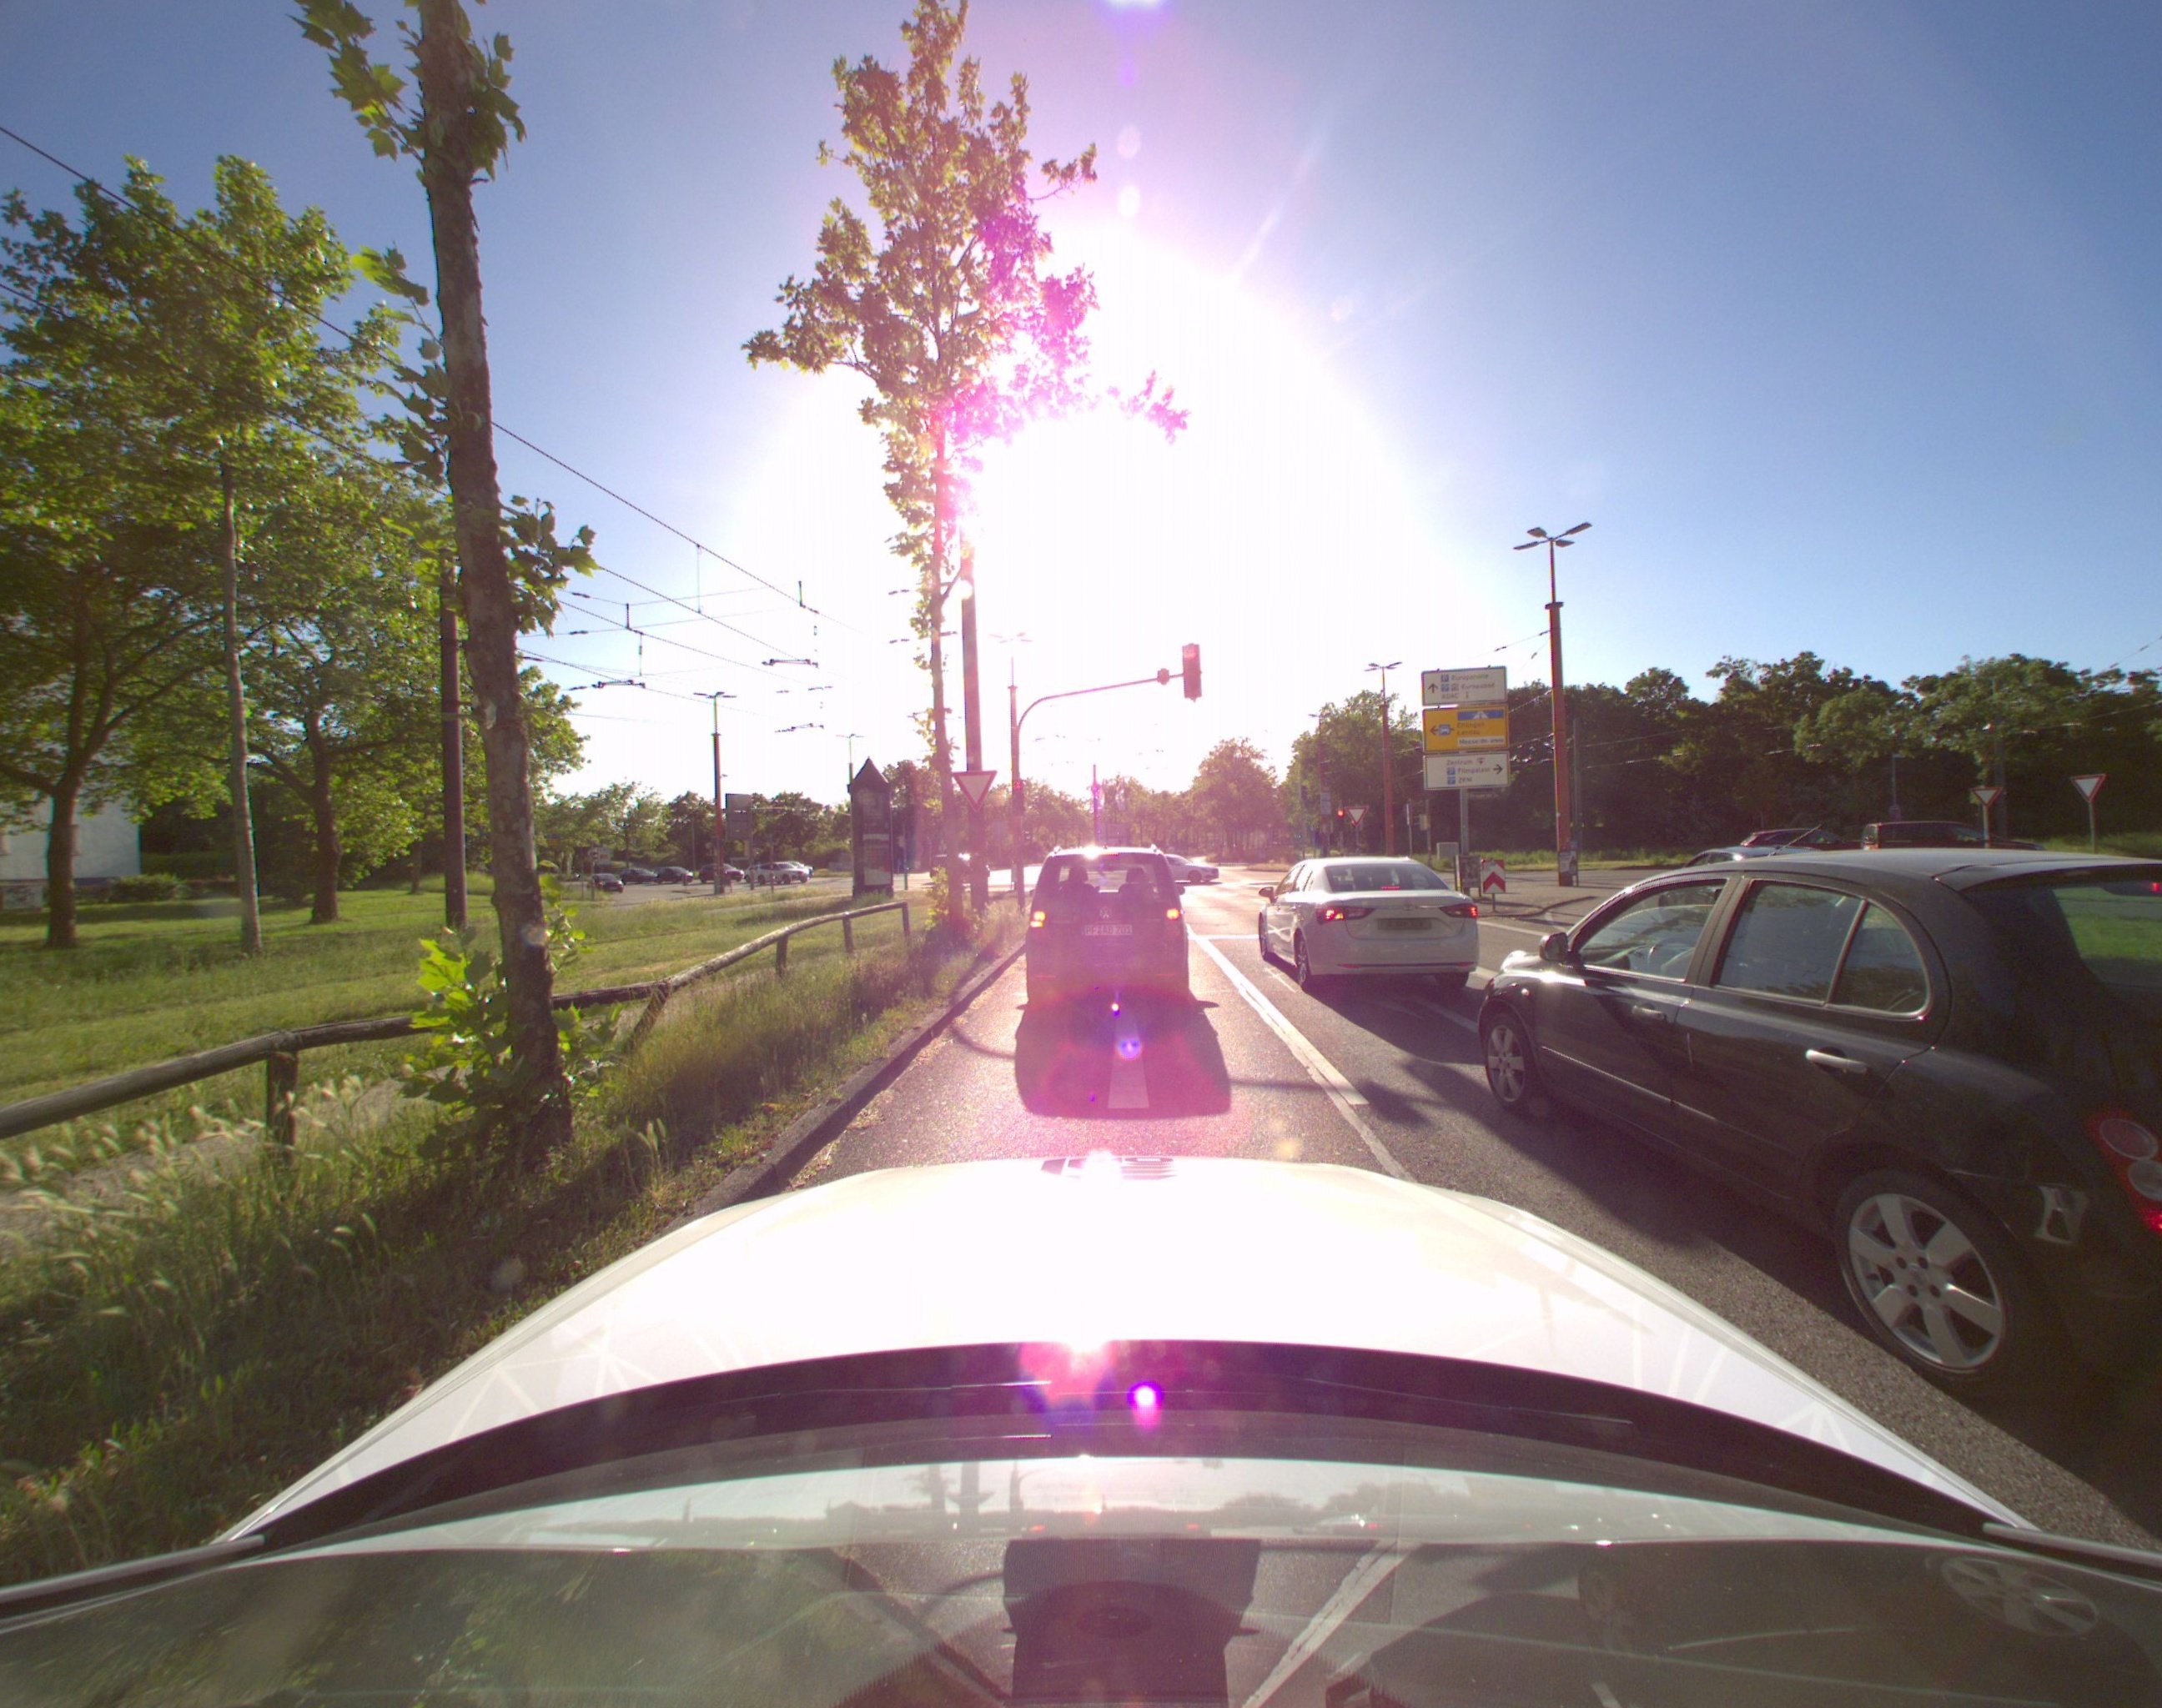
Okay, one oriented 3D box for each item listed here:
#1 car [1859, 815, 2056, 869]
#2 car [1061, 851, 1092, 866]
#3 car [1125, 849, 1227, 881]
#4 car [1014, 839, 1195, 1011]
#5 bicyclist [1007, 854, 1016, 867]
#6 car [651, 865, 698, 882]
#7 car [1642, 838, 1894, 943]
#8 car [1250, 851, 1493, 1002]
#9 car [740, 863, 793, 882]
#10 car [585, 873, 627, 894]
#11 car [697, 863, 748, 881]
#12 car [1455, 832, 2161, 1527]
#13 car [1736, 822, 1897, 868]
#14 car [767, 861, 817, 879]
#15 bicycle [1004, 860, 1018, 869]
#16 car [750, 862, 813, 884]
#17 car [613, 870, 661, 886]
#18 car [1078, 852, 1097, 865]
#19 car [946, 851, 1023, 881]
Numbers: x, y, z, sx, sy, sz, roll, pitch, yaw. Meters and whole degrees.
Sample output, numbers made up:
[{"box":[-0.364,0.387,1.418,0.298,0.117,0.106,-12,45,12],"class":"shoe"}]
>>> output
[{"box":[30.500,-0.384,28.557,4.302,1.732,1.854,-2,0,29],"class":"car"},{"box":[-0.463,0.496,94.780,1.977,1.684,4.853,-2,0,20],"class":"car"},{"box":[4.977,0.595,42.876,4.867,1.575,2.013,-2,0,30],"class":"car"},{"box":[0.294,0.697,9.992,1.731,1.641,4.002,-2,0,2],"class":"car"},{"box":[-8.117,0.760,95.016,0.686,1.457,0.879,-2,-1,20],"class":"bicyclist"},{"box":[-37.355,1.773,74.844,4.004,1.464,1.926,-2,0,28],"class":"car"},{"box":[11.083,0.520,13.531,1.732,1.469,3.909,-2,0,16],"class":"car"},{"box":[3.295,0.720,10.119,1.708,1.454,4.147,-2,0,3],"class":"car"},{"box":[-26.773,1.591,69.254,4.169,1.464,1.926,-2,0,29],"class":"car"},{"box":[-35.197,2.181,60.346,1.837,1.420,3.711,-1,0,-44],"class":"car"},{"box":[-31.720,1.568,72.075,4.318,1.464,1.926,-2,0,29],"class":"car"},{"box":[3.166,0.694,3.515,1.550,1.506,3.517,-2,0,2],"class":"car"},{"box":[29.521,-0.320,32.883,4.507,1.668,1.854,-2,0,30],"class":"car"},{"box":[-25.598,1.424,72.142,4.169,1.464,1.926,-2,0,29],"class":"car"},{"box":[-8.148,1.227,94.795,0.728,1.090,1.971,-2,0,21],"class":"bicycle"},{"box":[-23.397,1.467,63.558,4.735,1.598,1.926,-2,0,29],"class":"car"},{"box":[-42.350,2.283,77.648,4.187,1.464,1.926,-2,0,28],"class":"car"},{"box":[0.939,0.648,118.704,1.982,1.684,4.841,-2,0,9],"class":"car"},{"box":[-6.309,0.782,53.330,4.735,1.836,1.926,-2,0,29],"class":"car"}]
